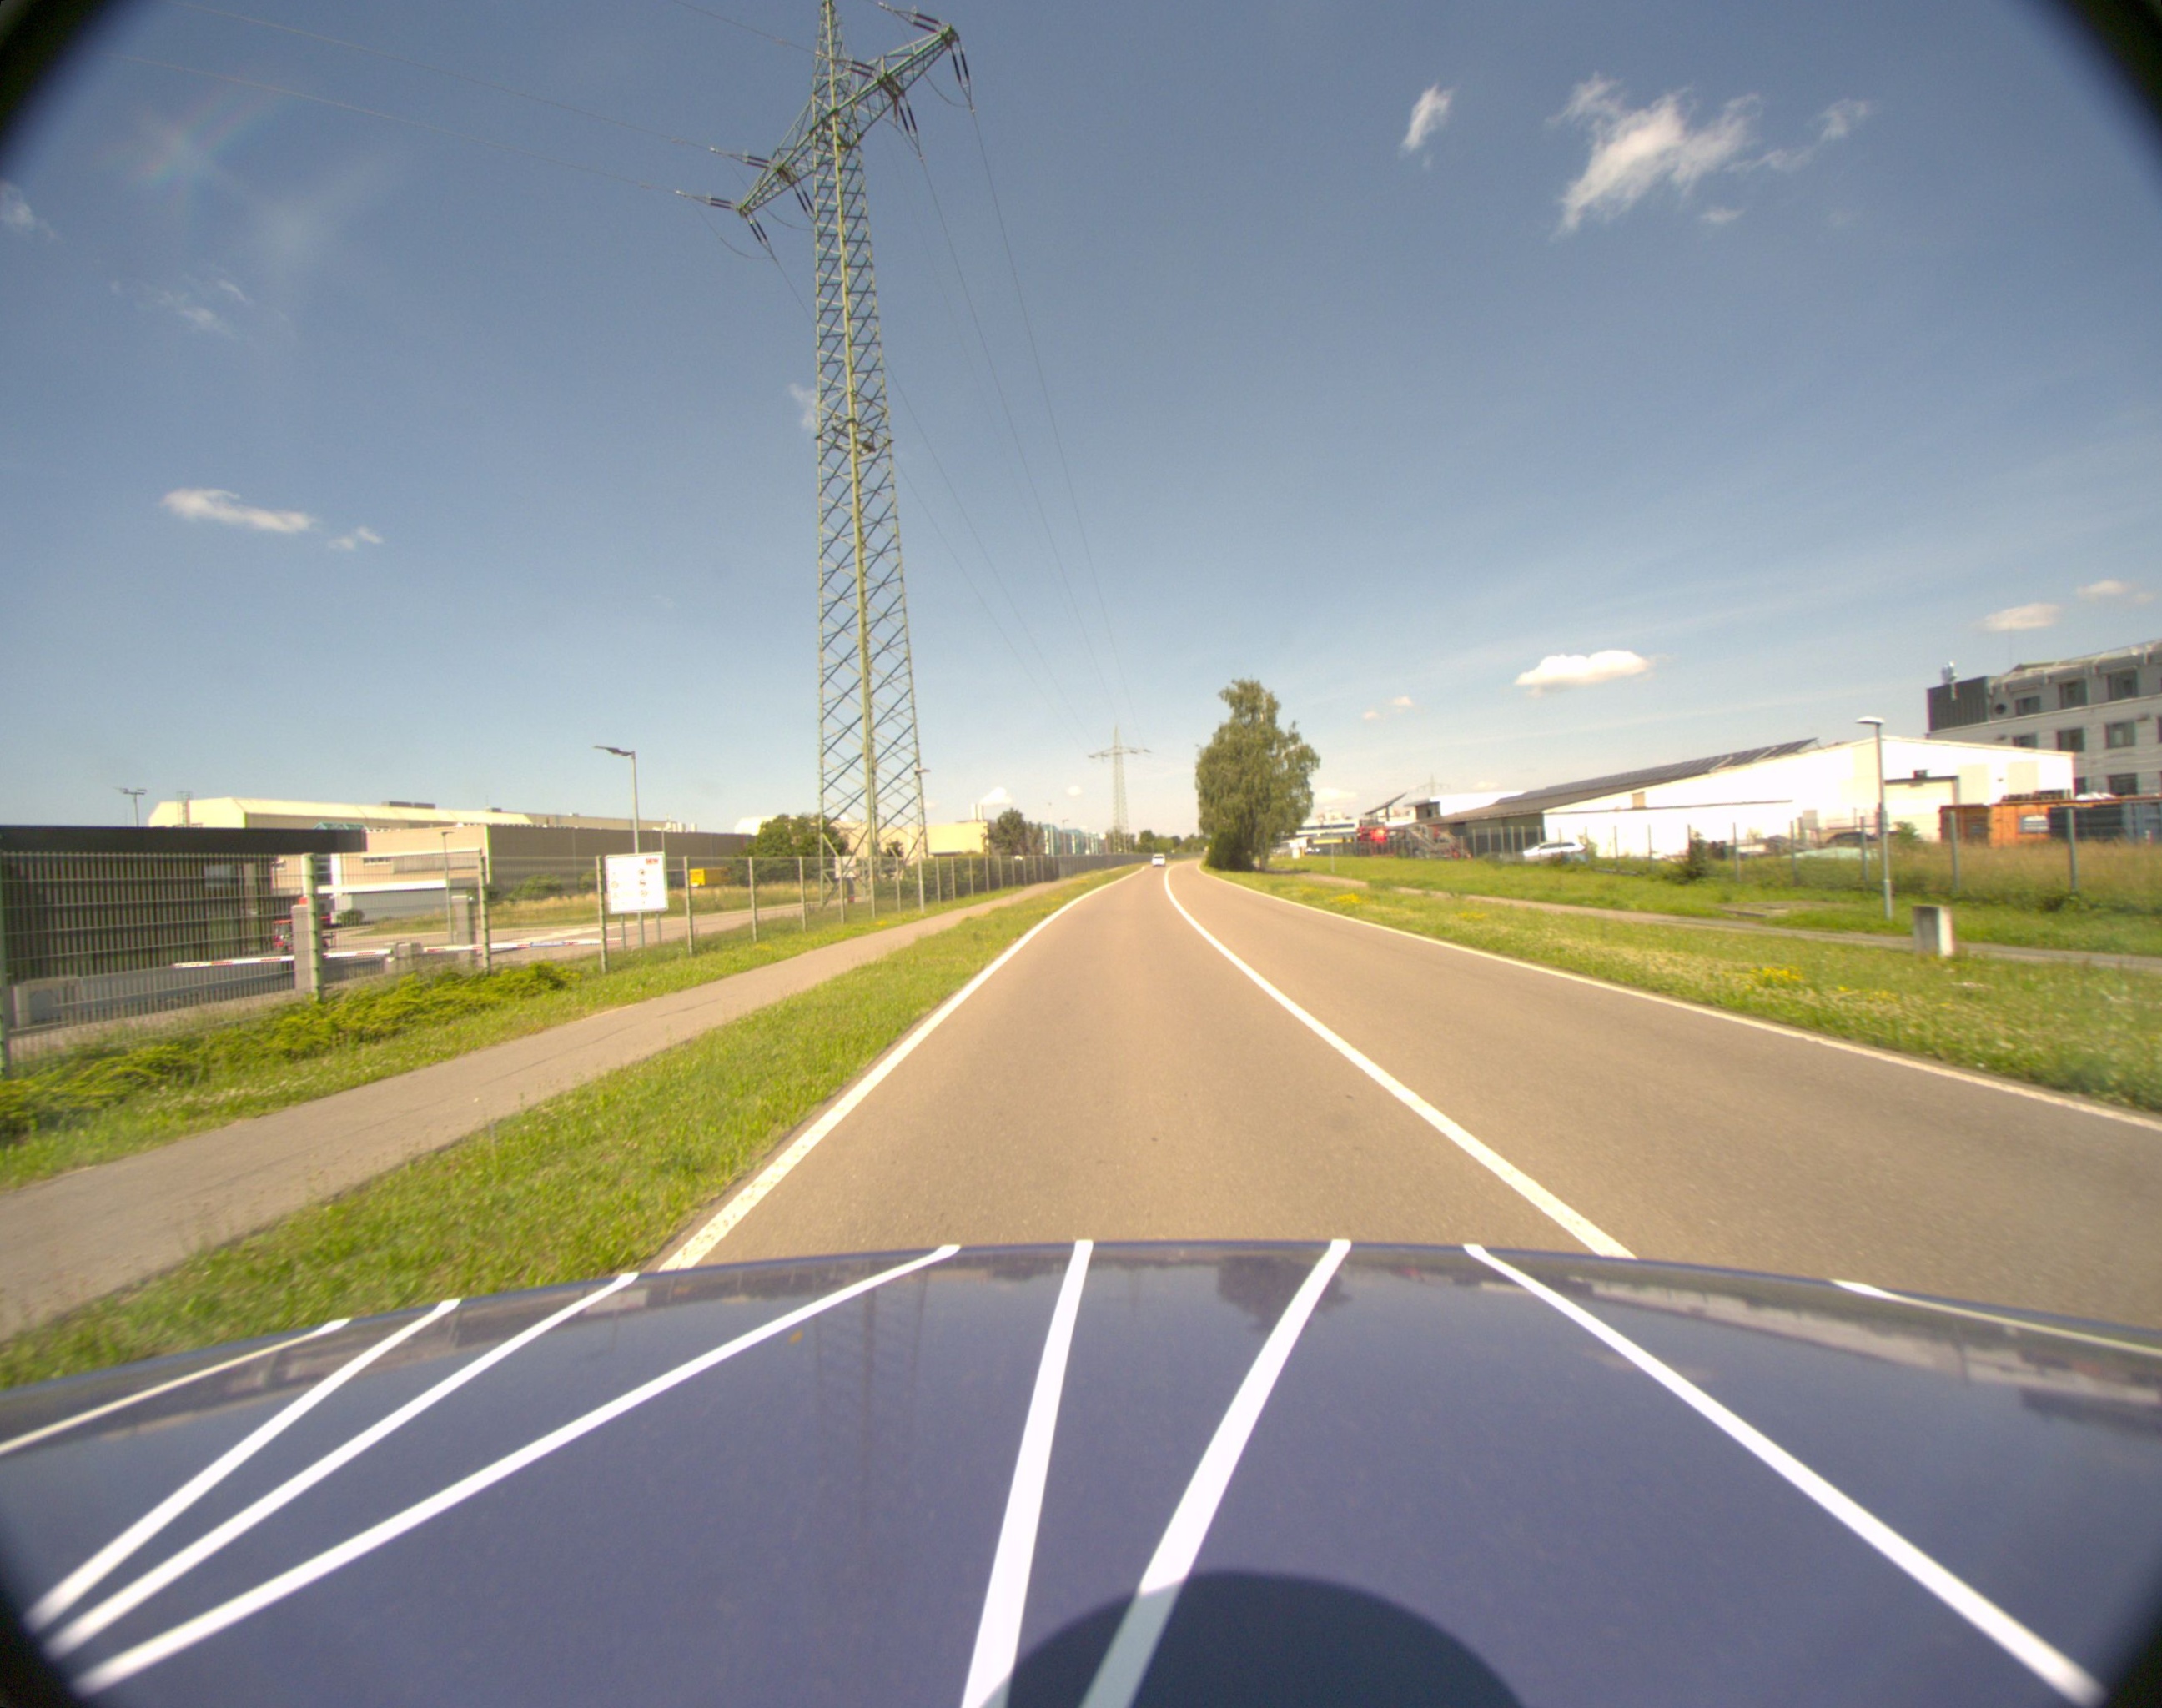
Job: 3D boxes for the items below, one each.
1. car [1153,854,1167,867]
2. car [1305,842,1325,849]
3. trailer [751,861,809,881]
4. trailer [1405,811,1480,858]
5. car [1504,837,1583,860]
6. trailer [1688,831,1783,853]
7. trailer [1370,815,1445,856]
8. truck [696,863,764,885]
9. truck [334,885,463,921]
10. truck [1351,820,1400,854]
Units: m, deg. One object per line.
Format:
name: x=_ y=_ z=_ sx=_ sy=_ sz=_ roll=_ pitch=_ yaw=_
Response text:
car: x=11.686 y=0.961 z=112.316 sx=1.835 sy=1.796 sz=4.832 roll=-1 pitch=0 yaw=8
car: x=54.570 y=-1.940 z=177.167 sx=4.218 sy=1.591 sz=1.871 roll=-2 pitch=1 yaw=7
trailer: x=-50.538 y=2.759 z=128.142 sx=1.997 sy=2.697 sz=14.105 roll=-2 pitch=1 yaw=9
trailer: x=30.716 y=-1.618 z=64.950 sx=3.405 sy=3.624 sz=8.663 roll=-2 pitch=1 yaw=9
car: x=30.380 y=-0.352 z=50.000 sx=3.994 sy=1.335 sz=1.748 roll=-3 pitch=0 yaw=9
trailer: x=39.635 y=-0.702 z=46.096 sx=3.994 sy=1.159 sz=1.905 roll=-2 pitch=0 yaw=8
trailer: x=32.502 y=-1.787 z=76.593 sx=3.296 sy=3.624 sz=14.933 roll=-2 pitch=1 yaw=9
truck: x=-52.621 y=2.957 z=114.473 sx=1.997 sy=2.697 sz=13.745 roll=-2 pitch=1 yaw=8
truck: x=-73.650 y=5.192 z=82.539 sx=1.997 sy=2.944 sz=11.858 roll=-4 pitch=0 yaw=8
truck: x=34.405 y=-1.969 z=89.200 sx=3.107 sy=3.624 sz=10.599 roll=-2 pitch=1 yaw=9
